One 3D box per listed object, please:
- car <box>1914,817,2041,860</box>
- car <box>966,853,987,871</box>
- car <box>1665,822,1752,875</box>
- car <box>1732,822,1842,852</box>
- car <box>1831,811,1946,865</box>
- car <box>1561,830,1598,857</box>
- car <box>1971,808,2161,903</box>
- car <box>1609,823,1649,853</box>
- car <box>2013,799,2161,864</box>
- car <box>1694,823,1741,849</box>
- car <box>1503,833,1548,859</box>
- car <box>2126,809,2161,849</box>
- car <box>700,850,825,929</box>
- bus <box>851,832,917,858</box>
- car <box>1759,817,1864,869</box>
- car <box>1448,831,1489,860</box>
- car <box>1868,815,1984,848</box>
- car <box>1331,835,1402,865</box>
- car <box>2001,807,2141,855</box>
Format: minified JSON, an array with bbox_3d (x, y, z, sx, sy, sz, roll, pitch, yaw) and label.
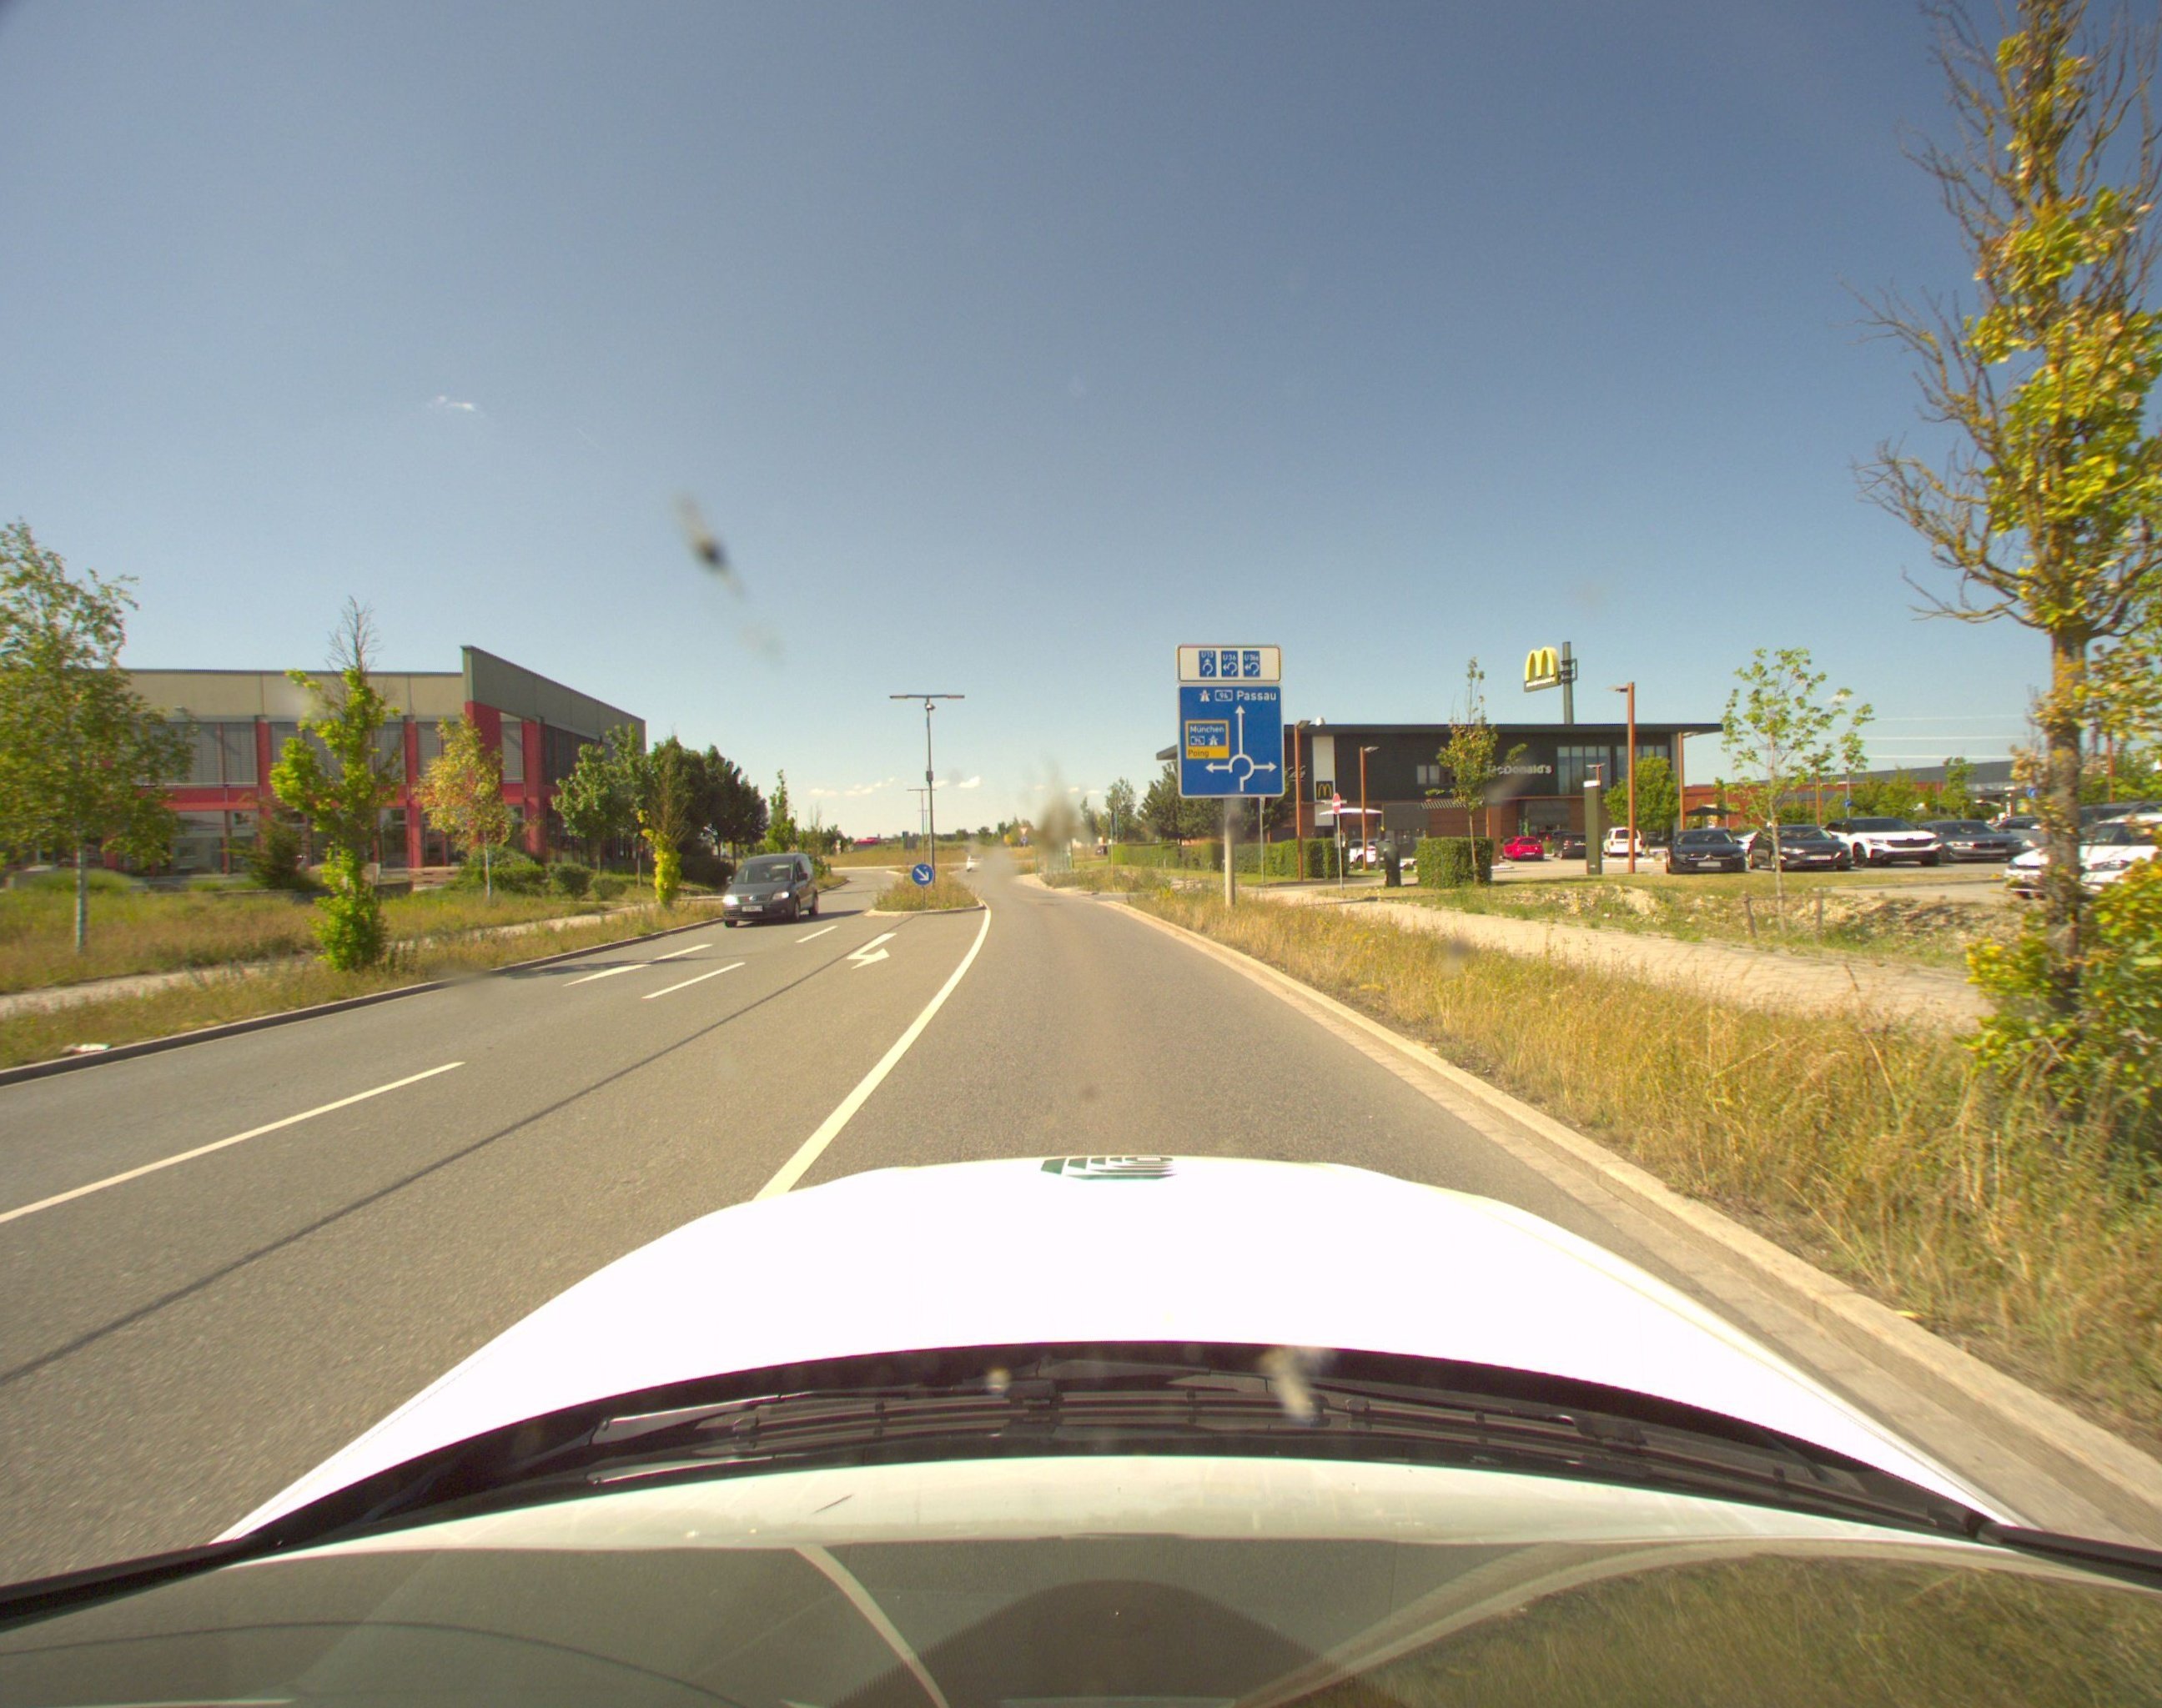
[{"bbox_3d":[29.701,-0.521,27.134,1.768,1.297,4.196,-2,0,32],"label":"car"},{"bbox_3d":[-9.043,0.674,70.349,1.616,1.434,3.780,-2,0,-9],"label":"car"},{"bbox_3d":[19.161,-0.195,25.025,1.680,1.462,4.196,-2,0,32],"label":"car"},{"bbox_3d":[36.552,-0.860,42.305,4.126,1.373,1.810,-2,0,36],"label":"car"},{"bbox_3d":[26.152,-0.509,26.545,1.768,1.579,4.196,-2,0,32],"label":"car"},{"bbox_3d":[30.257,-0.634,49.500,1.775,1.513,4.025,-2,0,30],"label":"car"},{"bbox_3d":[18.938,-0.050,14.434,4.516,1.490,1.866,-2,1,-4],"label":"car"},{"bbox_3d":[33.887,-1.003,50.432,1.775,1.702,4.025,-2,0,31],"label":"car"},{"bbox_3d":[28.182,-0.627,22.240,4.158,1.635,1.784,-2,0,-12],"label":"car"},{"bbox_3d":[40.540,-1.149,51.836,4.023,1.520,1.776,-2,0,-45],"label":"car"},{"bbox_3d":[26.625,-0.505,48.896,1.777,1.434,4.020,-2,0,20],"label":"car"},{"bbox_3d":[40.018,-0.933,29.215,1.768,1.451,4.196,-2,0,32],"label":"car"},{"bbox_3d":[-8.286,0.831,21.664,1.949,1.794,4.416,-3,1,-7],"label":"car"},{"bbox_3d":[-27.359,-1.295,114.164,2.764,3.078,12.263,-2,2,18],"label":"bus"},{"bbox_3d":[22.916,-0.345,25.712,1.768,1.462,4.196,-2,0,32],"label":"car"},{"bbox_3d":[23.087,-0.492,48.662,1.777,1.604,4.020,-2,0,20],"label":"car"},{"bbox_3d":[46.548,-1.211,44.992,4.126,1.576,1.810,-2,0,36],"label":"car"},{"bbox_3d":[15.046,-0.185,43.148,1.793,1.434,3.985,-2,0,-11],"label":"car"},{"bbox_3d":[33.484,-0.769,27.699,1.768,1.451,4.196,-2,0,32],"label":"car"}]
